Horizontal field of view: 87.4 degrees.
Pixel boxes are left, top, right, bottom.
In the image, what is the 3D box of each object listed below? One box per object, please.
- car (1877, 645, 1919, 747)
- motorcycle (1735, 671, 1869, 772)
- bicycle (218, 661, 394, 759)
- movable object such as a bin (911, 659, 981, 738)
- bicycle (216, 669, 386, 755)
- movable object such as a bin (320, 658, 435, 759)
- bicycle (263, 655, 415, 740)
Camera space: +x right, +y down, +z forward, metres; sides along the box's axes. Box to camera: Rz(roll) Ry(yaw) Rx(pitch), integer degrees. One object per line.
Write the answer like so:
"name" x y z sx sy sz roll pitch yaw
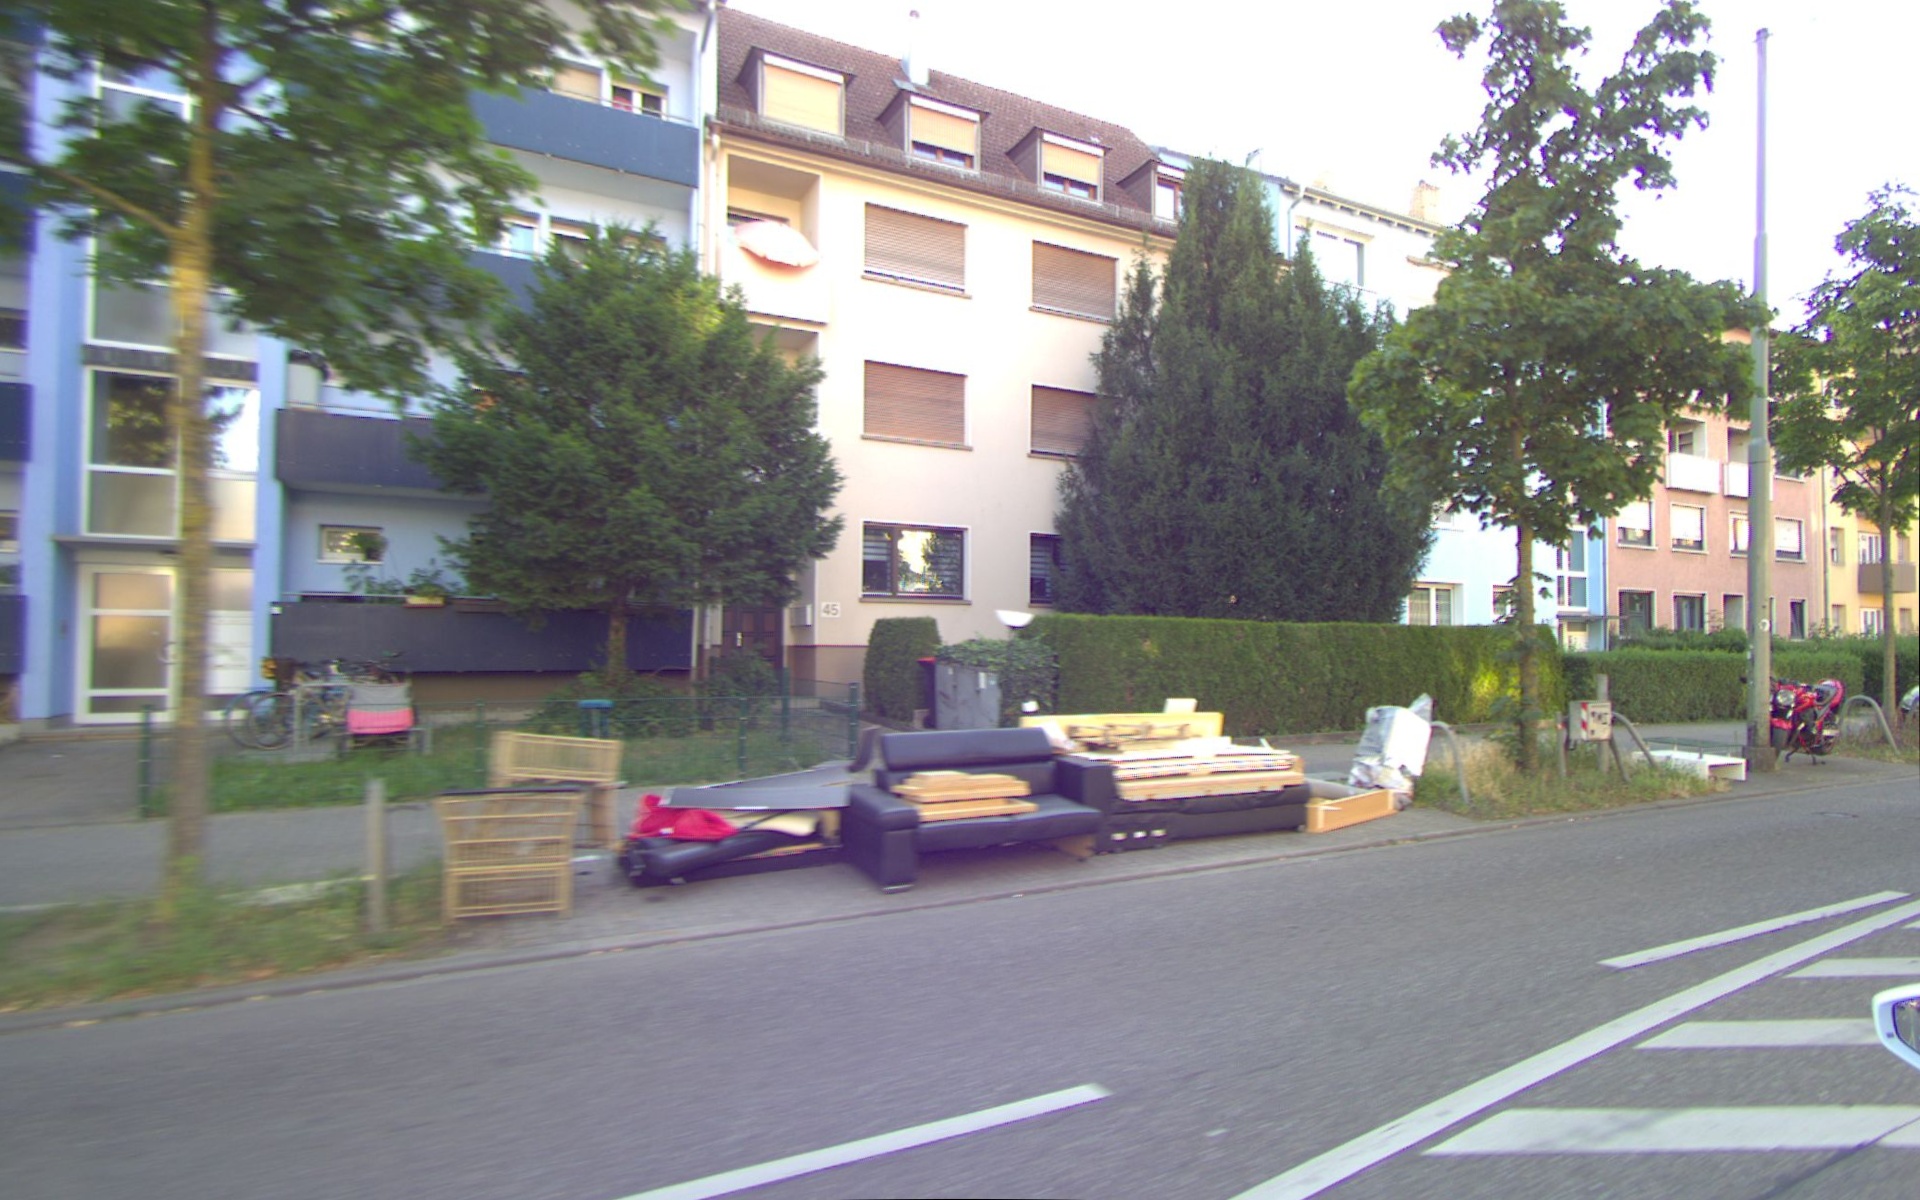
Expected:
"car" 16.715 1.513 15.937 4.259 1.537 1.831 1 -1 -27
"motorcycle" 10.840 1.515 12.910 2.147 1.151 0.635 2 0 -30
"bicycle" -8.058 1.323 12.441 0.526 1.110 1.739 -2 -3 44
"movable object such as a bin" -0.209 1.410 14.603 0.722 1.075 0.806 1 -2 -30
"bicycle" -8.425 1.402 12.902 0.497 1.002 1.739 -2 -3 44
"movable object such as a bin" -6.744 1.219 11.712 1.047 1.062 1.457 1 -2 -27
"bicycle" -8.547 1.319 13.895 1.726 1.090 0.585 2 -3 -31
